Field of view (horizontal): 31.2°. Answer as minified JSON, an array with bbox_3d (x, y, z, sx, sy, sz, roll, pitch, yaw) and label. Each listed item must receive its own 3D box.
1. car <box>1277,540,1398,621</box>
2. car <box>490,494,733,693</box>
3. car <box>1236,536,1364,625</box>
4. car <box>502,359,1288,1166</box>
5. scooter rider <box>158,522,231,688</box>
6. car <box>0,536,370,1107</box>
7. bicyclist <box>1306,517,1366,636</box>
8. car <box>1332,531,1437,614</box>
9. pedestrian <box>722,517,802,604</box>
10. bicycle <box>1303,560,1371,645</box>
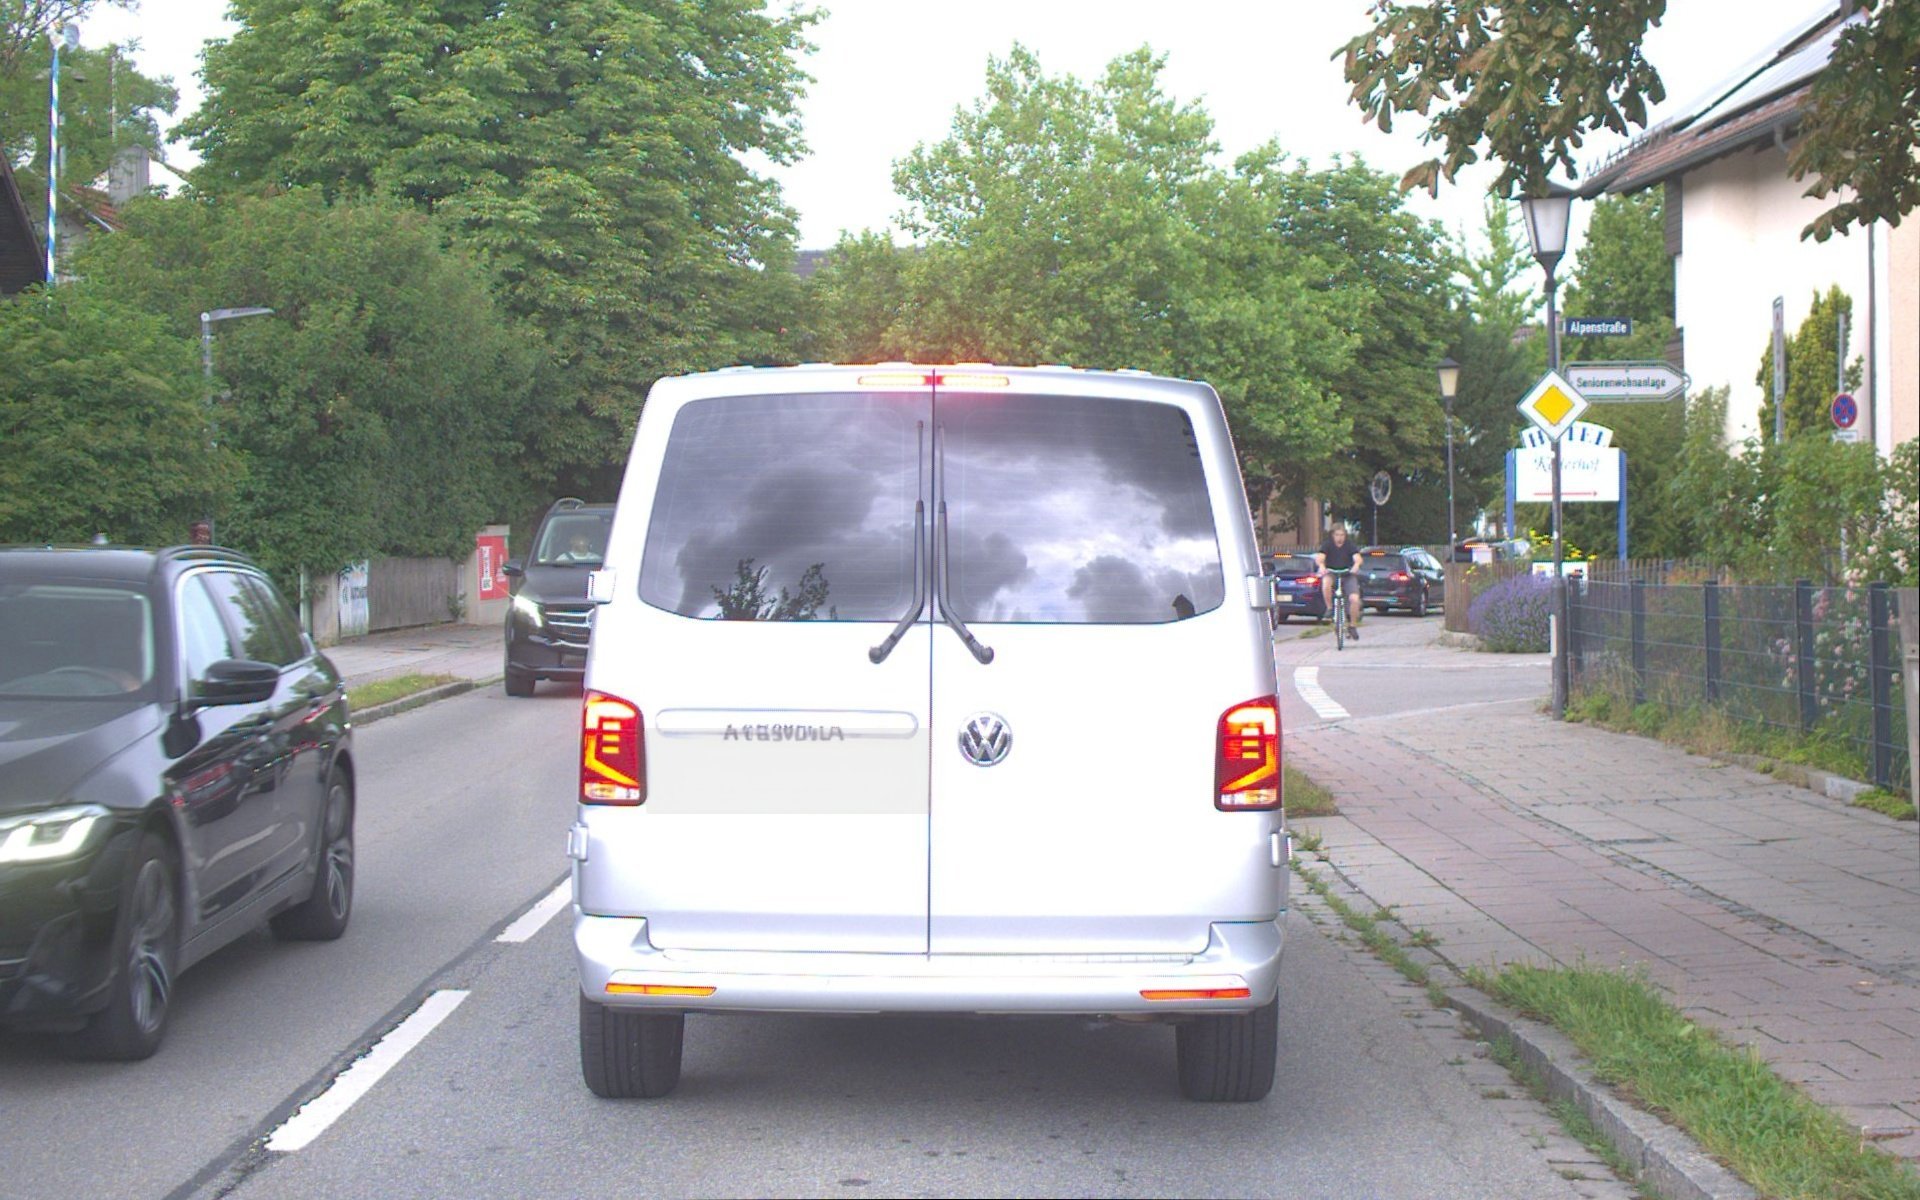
[{"bbox_3d":[7.434,-0.413,67.419,1.882,1.530,3.918,0,1,14],"label":"car"},{"bbox_3d":[-3.422,-0.107,34.629,1.964,1.847,4.948,0,1,0],"label":"car"},{"bbox_3d":[6.108,-0.369,61.435,1.882,1.530,3.919,0,1,12],"label":"car"},{"bbox_3d":[-0.139,0.356,10.216,1.881,1.934,3.921,0,1,1],"label":"car"},{"bbox_3d":[-6.939,0.039,31.185,0.502,1.484,0.716,0,1,0],"label":"scooter rider"},{"bbox_3d":[-3.218,0.526,11.110,1.846,1.449,4.549,1,1,0],"label":"car"},{"bbox_3d":[5.186,-0.327,47.414,0.736,1.627,0.890,0,1,1],"label":"bicyclist"},{"bbox_3d":[9.213,-0.623,74.318,1.882,1.742,4.078,0,1,12],"label":"car"},{"bbox_3d":[-4.143,-0.829,71.806,1.318,1.796,1.069,0,1,-31],"label":"pedestrian"},{"bbox_3d":[5.196,0.026,47.428,0.764,1.139,1.845,0,1,1],"label":"bicycle"}]
